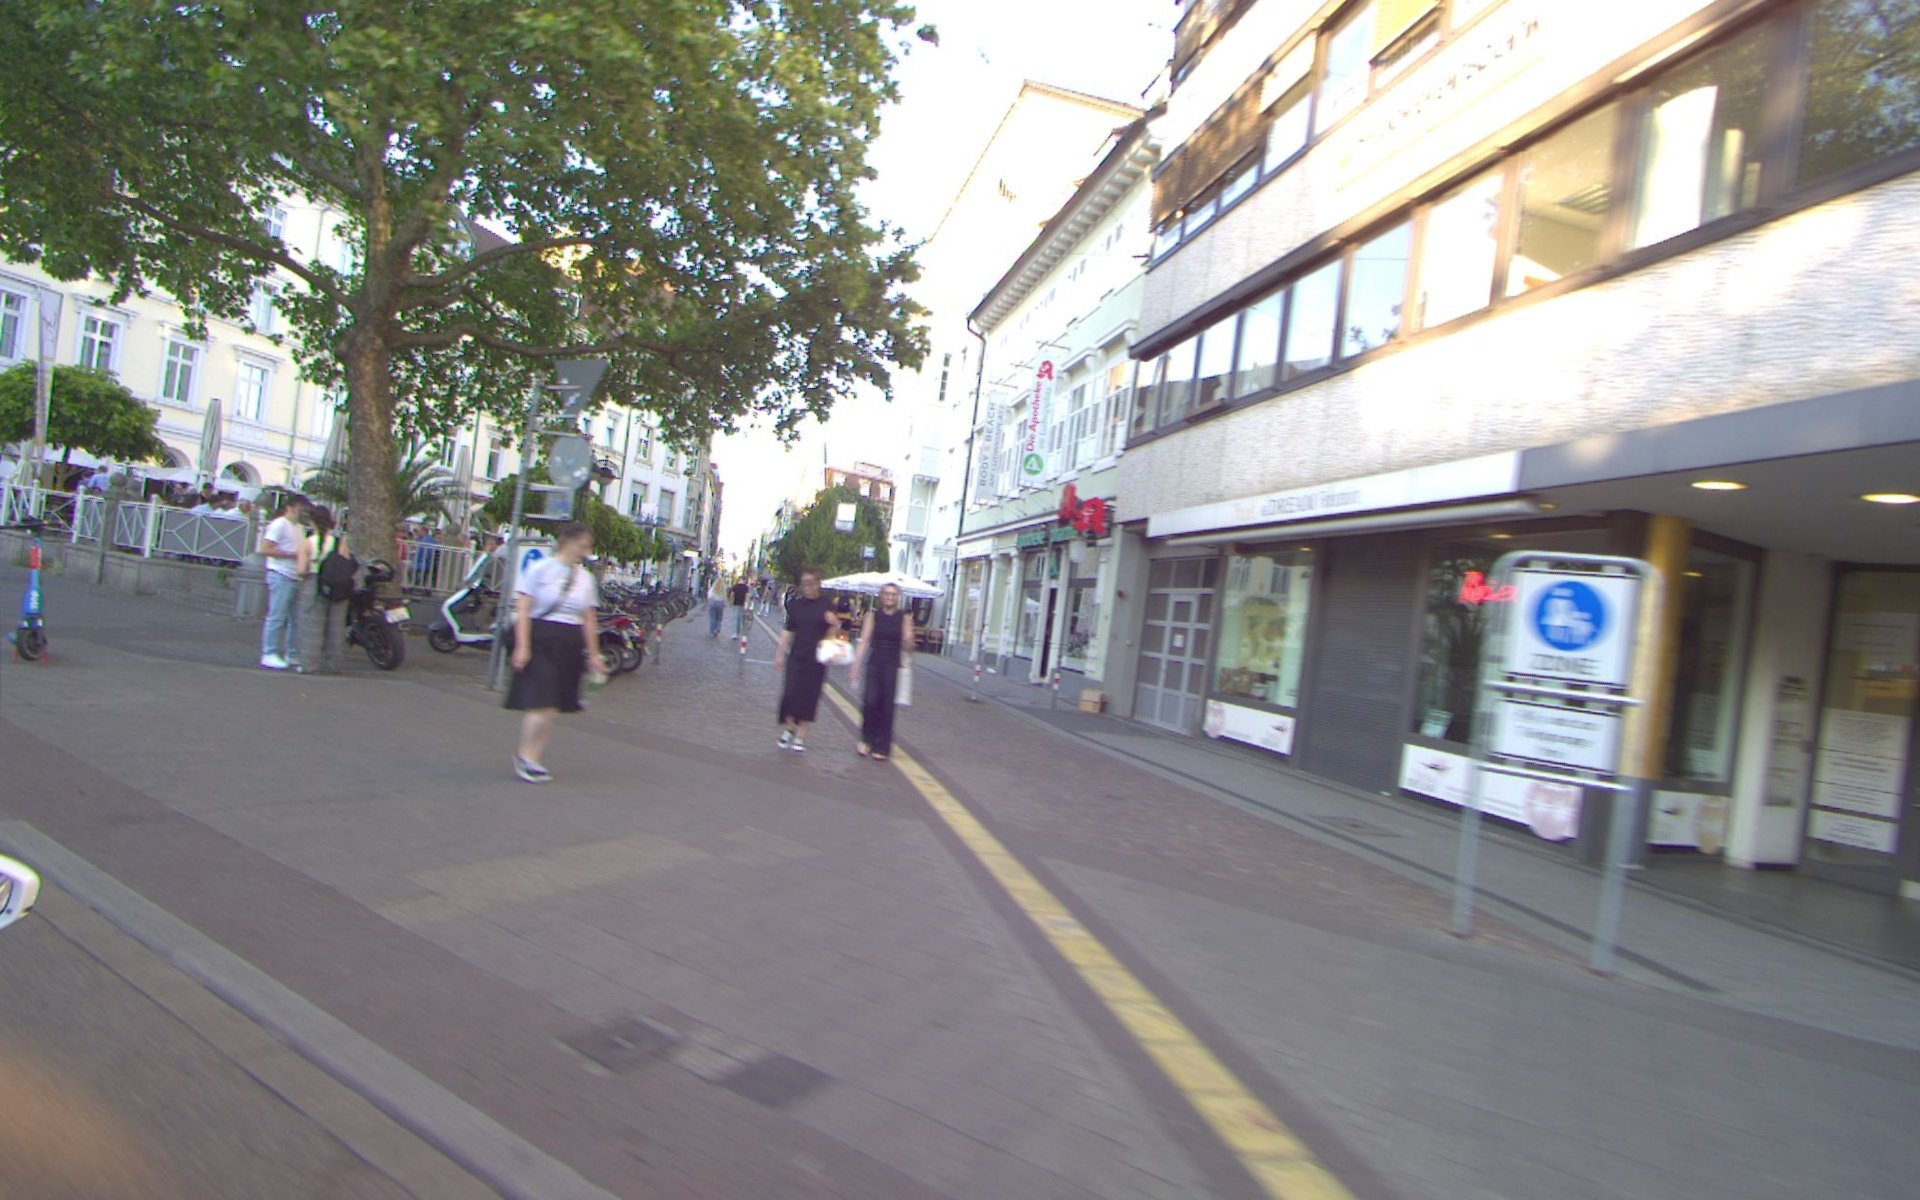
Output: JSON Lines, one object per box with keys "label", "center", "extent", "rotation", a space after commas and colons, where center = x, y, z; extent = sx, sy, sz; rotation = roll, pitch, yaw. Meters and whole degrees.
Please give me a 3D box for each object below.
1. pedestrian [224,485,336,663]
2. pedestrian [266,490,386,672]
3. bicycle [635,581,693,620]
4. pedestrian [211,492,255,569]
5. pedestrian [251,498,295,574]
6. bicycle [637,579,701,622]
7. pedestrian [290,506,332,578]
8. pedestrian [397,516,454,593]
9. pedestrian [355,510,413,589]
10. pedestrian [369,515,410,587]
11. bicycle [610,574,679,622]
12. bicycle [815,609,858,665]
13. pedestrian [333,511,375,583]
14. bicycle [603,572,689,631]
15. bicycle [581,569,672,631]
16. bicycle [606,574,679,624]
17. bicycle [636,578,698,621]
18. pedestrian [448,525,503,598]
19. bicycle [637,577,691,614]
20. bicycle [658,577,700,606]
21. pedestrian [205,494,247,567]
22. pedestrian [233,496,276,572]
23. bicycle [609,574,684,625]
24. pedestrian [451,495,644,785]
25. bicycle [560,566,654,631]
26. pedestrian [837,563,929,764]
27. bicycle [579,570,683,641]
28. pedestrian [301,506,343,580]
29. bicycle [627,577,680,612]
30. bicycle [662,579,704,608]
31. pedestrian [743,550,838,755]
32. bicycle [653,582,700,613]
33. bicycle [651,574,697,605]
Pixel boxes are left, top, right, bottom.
{"label": "pedestrian", "center": [-7.030, -0.263, 10.408], "extent": [0.651, 1.737, 0.614], "rotation": [6, -1, 34]}
{"label": "pedestrian", "center": [-6.404, -0.183, 10.168], "extent": [0.644, 1.737, 0.679], "rotation": [6, -1, 34]}
{"label": "bicycle", "center": [-11.968, 0.019, 40.742], "extent": [2.090, 1.307, 0.440], "rotation": [8, 0, -24]}
{"label": "pedestrian", "center": [-13.483, -1.288, 18.658], "extent": [0.472, 1.346, 0.533], "rotation": [7, -1, -44]}
{"label": "pedestrian", "center": [-12.385, -1.154, 18.136], "extent": [0.472, 1.300, 0.533], "rotation": [7, -1, -44]}
{"label": "bicycle", "center": [-10.650, 0.020, 36.877], "extent": [2.090, 1.307, 0.440], "rotation": [8, 0, -24]}
{"label": "pedestrian", "center": [-12.429, -1.103, 19.276], "extent": [0.472, 1.300, 0.533], "rotation": [7, -1, -44]}
{"label": "pedestrian", "center": [-9.702, -0.816, 18.269], "extent": [0.642, 1.300, 0.732], "rotation": [7, -1, -42]}
{"label": "pedestrian", "center": [-10.229, -0.885, 17.864], "extent": [0.642, 1.300, 0.732], "rotation": [7, -1, -42]}
{"label": "pedestrian", "center": [-10.869, -0.929, 19.165], "extent": [0.472, 1.300, 0.534], "rotation": [7, -1, -42]}
{"label": "bicycle", "center": [-10.907, -0.065, 34.777], "extent": [2.091, 1.307, 0.439], "rotation": [9, 0, -24]}
{"label": "bicycle", "center": [-3.028, 0.866, 24.468], "extent": [0.641, 1.226, 2.192], "rotation": [8, -2, -13]}
{"label": "pedestrian", "center": [-11.448, -0.995, 18.998], "extent": [0.475, 1.300, 0.519], "rotation": [7, -1, -41]}
{"label": "bicycle", "center": [-8.758, 0.047, 28.116], "extent": [2.080, 1.307, 0.442], "rotation": [9, 1, -4]}
{"label": "bicycle", "center": [-8.843, -0.006, 26.715], "extent": [2.080, 1.307, 0.442], "rotation": [9, 1, -4]}
{"label": "bicycle", "center": [-10.338, -0.030, 32.774], "extent": [2.091, 1.306, 0.440], "rotation": [9, 0, -24]}
{"label": "bicycle", "center": [-11.076, -0.014, 38.074], "extent": [2.090, 1.307, 0.440], "rotation": [8, 0, -24]}
{"label": "pedestrian", "center": [-9.249, -0.736, 19.199], "extent": [0.642, 1.300, 0.732], "rotation": [7, -1, -42]}
{"label": "bicycle", "center": [-13.002, -0.196, 44.215], "extent": [2.090, 1.307, 0.440], "rotation": [8, 0, -24]}
{"label": "bicycle", "center": [-15.638, -0.476, 56.074], "extent": [2.090, 1.307, 0.440], "rotation": [8, 0, -24]}
{"label": "pedestrian", "center": [-13.904, -1.314, 19.064], "extent": [0.472, 1.300, 0.533], "rotation": [7, -1, -44]}
{"label": "pedestrian", "center": [-12.923, -1.205, 18.430], "extent": [0.472, 1.300, 0.533], "rotation": [7, -1, -44]}
{"label": "bicycle", "center": [-9.876, -0.008, 31.706], "extent": [2.091, 1.306, 0.440], "rotation": [9, -1, -24]}
{"label": "pedestrian", "center": [-2.832, 0.261, 6.917], "extent": [0.811, 1.826, 0.714], "rotation": [8, 1, 35]}
{"label": "bicycle", "center": [-8.978, -0.034, 25.614], "extent": [2.080, 1.307, 0.442], "rotation": [9, 2, -4]}
{"label": "pedestrian", "center": [-0.732, 0.583, 9.435], "extent": [0.647, 1.744, 0.823], "rotation": [6, -1, -6]}
{"label": "bicycle", "center": [-7.579, 0.127, 23.206], "extent": [2.080, 1.307, 0.442], "rotation": [9, 1, -4]}
{"label": "pedestrian", "center": [-11.961, -1.063, 18.849], "extent": [0.472, 1.300, 0.534], "rotation": [7, -1, -42]}
{"label": "bicycle", "center": [-13.892, -0.248, 45.626], "extent": [2.090, 1.307, 0.440], "rotation": [8, 0, -24]}
{"label": "bicycle", "center": [-15.444, -0.368, 56.145], "extent": [2.090, 1.307, 0.440], "rotation": [8, 0, -24]}
{"label": "pedestrian", "center": [-1.552, 0.477, 9.352], "extent": [0.647, 1.762, 0.823], "rotation": [6, -1, -6]}
{"label": "bicycle", "center": [-14.380, -0.121, 51.026], "extent": [2.090, 1.307, 0.440], "rotation": [8, 0, -24]}
{"label": "bicycle", "center": [-14.729, -0.533, 51.797], "extent": [2.090, 1.307, 0.440], "rotation": [8, 0, -24]}
